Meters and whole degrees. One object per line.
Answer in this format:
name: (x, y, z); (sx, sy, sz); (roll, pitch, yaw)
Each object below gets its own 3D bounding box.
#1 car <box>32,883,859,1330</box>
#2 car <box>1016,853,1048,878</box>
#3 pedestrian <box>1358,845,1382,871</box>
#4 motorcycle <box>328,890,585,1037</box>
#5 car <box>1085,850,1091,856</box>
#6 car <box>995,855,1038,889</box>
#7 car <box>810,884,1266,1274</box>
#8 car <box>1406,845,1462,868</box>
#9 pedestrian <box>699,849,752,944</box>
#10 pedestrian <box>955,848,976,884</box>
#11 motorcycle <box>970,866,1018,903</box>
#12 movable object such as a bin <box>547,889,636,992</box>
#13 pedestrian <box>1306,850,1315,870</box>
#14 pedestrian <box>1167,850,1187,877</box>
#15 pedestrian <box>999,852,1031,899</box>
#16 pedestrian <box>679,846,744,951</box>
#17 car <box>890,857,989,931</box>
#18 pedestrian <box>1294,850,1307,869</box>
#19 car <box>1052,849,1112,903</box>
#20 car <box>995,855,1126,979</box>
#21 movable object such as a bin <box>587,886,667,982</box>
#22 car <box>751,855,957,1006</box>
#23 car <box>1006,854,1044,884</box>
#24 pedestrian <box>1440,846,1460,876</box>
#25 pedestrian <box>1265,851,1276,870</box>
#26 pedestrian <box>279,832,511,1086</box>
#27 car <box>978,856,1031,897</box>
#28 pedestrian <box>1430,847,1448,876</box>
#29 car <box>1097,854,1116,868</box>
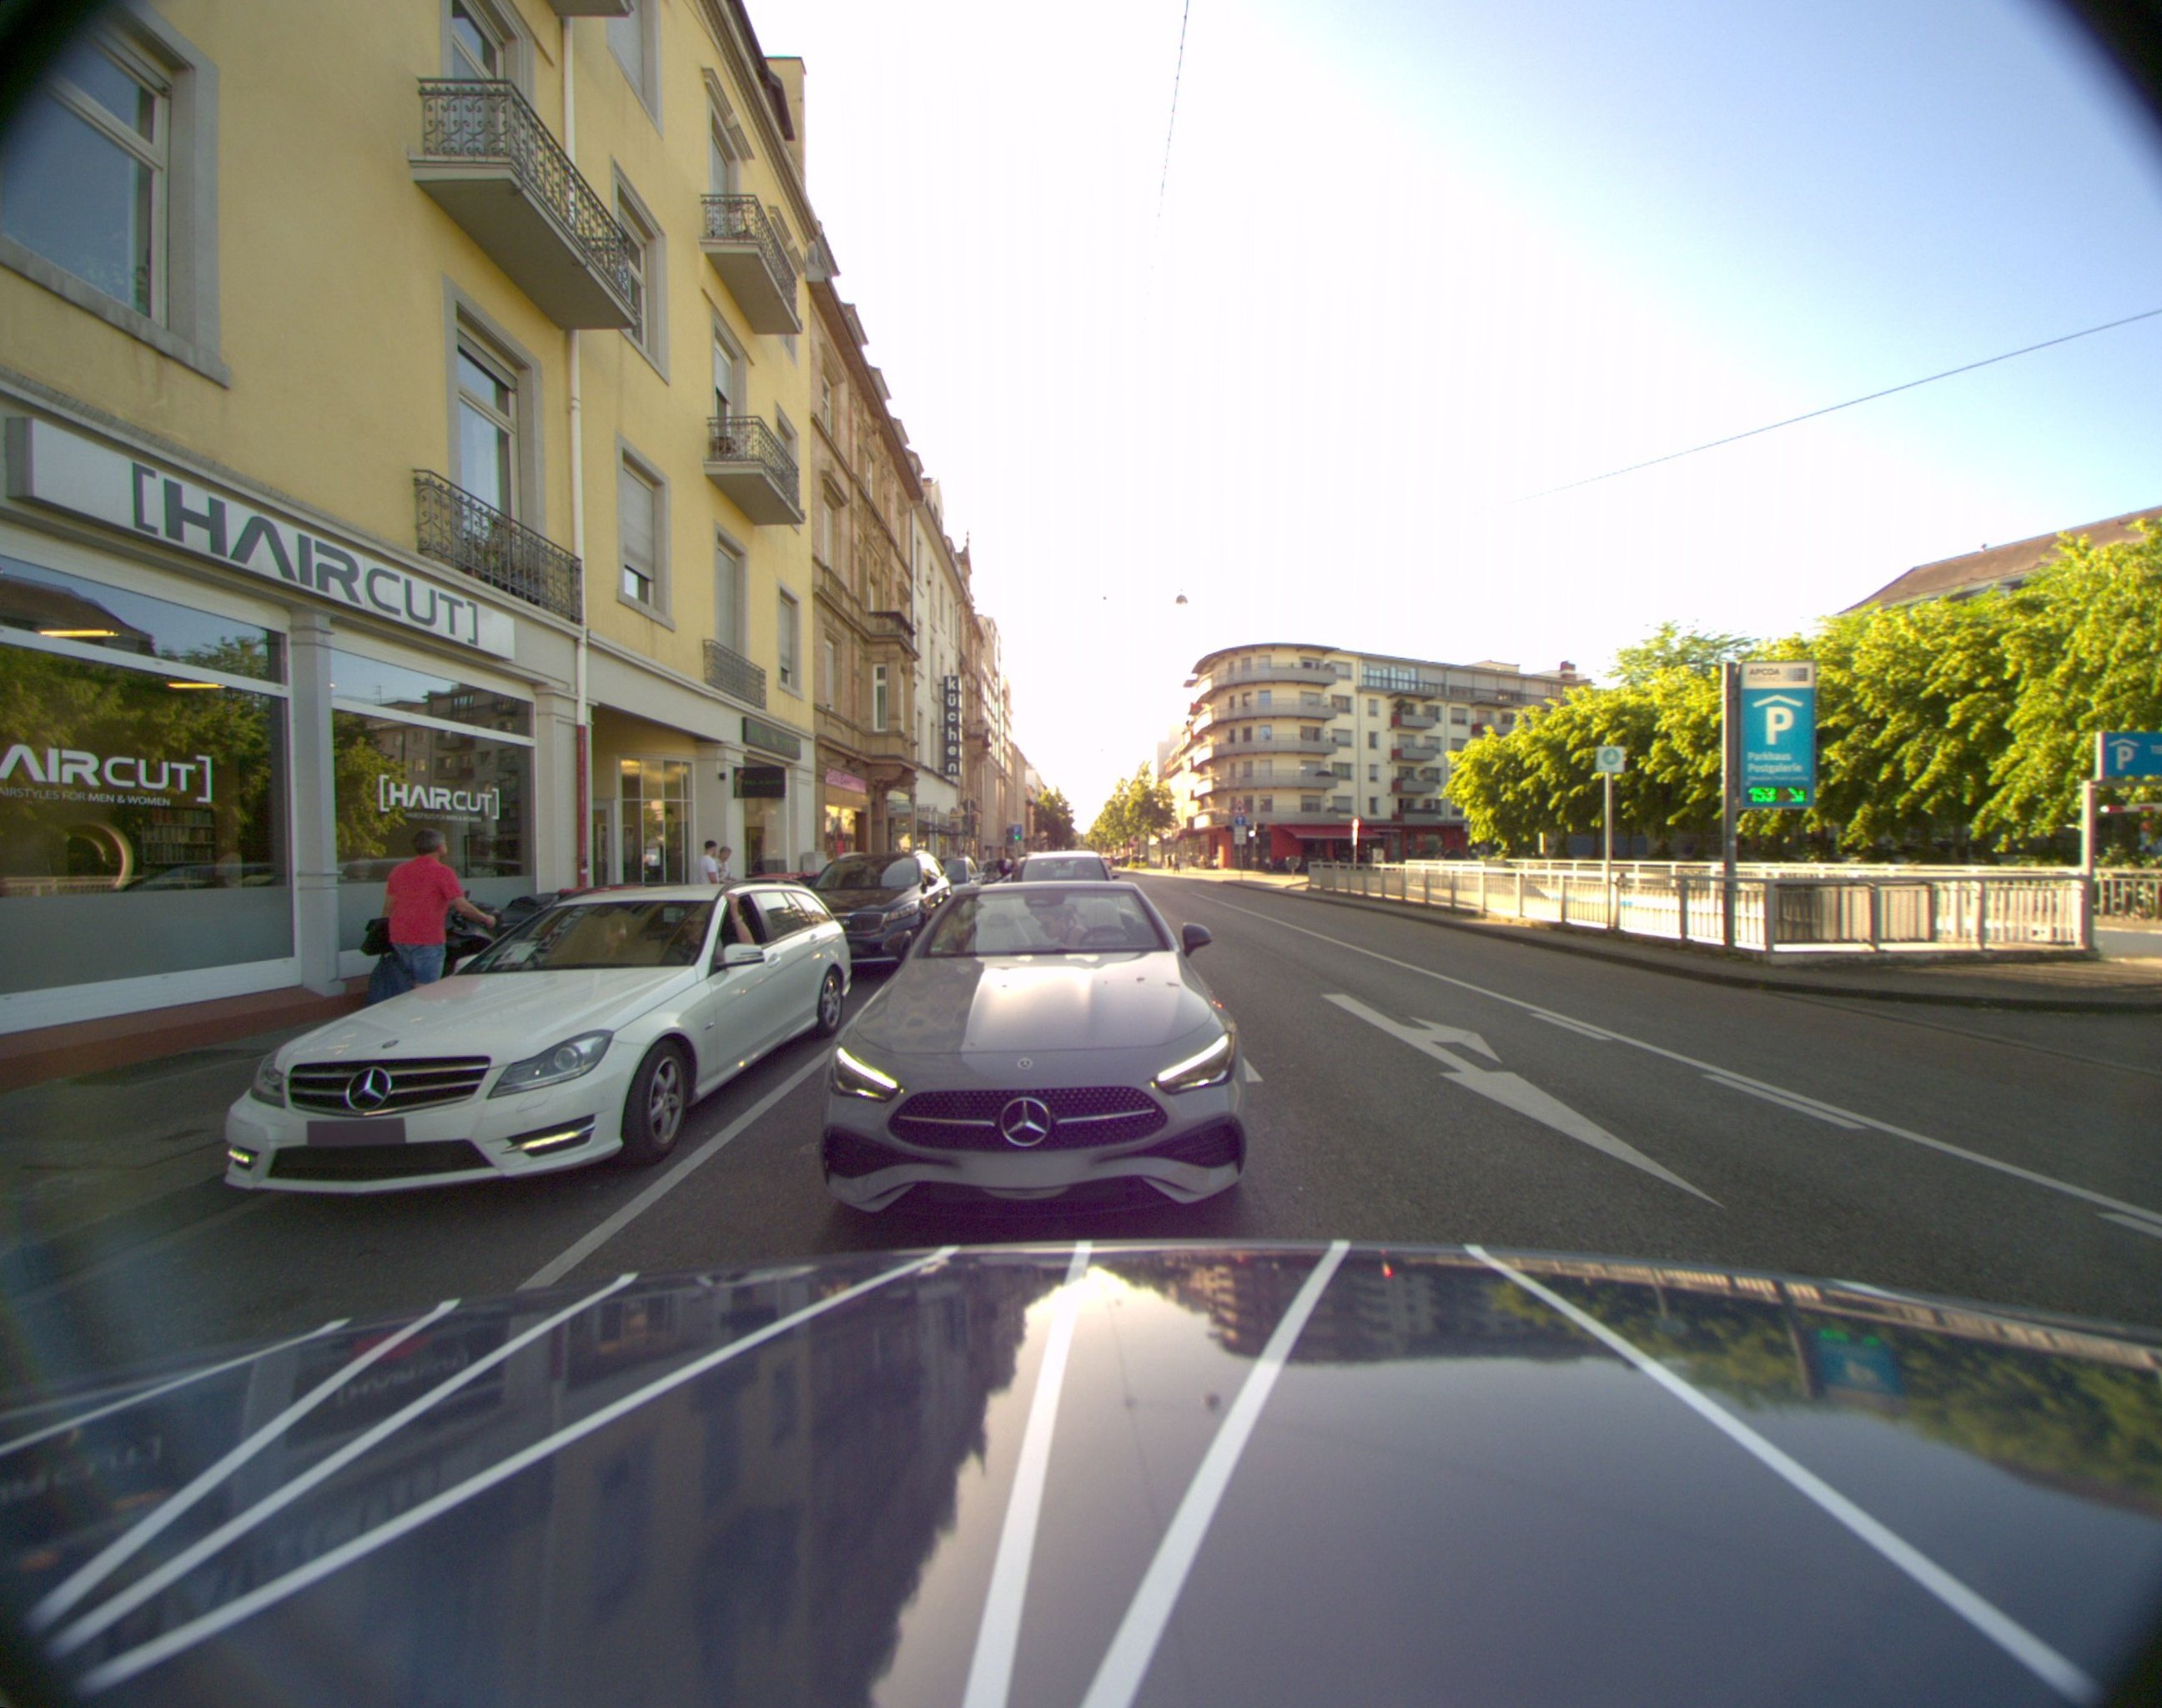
car: (-3.068, 1.045, 5.179); (1.759, 1.453, 4.597); (-1, 0, 0)
car: (-3.018, 0.688, 47.612); (1.715, 1.477, 4.062); (-1, 0, 0)
pedestrian: (22.641, 0.304, 59.531); (1.234, 2.002, 1.259); (-2, 1, -21)
motorcycle: (-6.257, 1.023, 7.845); (0.773, 1.158, 2.247); (1, 0, 1)
car: (2.287, -0.370, 261.753); (1.998, 1.805, 4.000); (-2, 0, 1)
car: (-3.044, 0.811, 36.499); (1.715, 1.477, 3.999); (-1, 0, 0)
car: (-0.194, 1.021, 5.291); (1.849, 1.371, 4.255); (-2, 0, -1)
car: (29.041, 0.171, 62.468); (4.004, 1.740, 1.996); (-2, 1, -23)
pedestrian: (-6.175, 0.718, 13.222); (0.572, 1.607, 0.643); (-1, 1, 2)
pedestrian: (-5.238, 0.544, 34.501); (0.795, 1.607, 0.763); (-1, 1, -1)
motorcycle: (-3.052, 1.046, 26.806); (0.769, 1.225, 1.546); (-1, 1, 42)
movable object such as a bin: (-6.104, 1.063, 9.507); (0.647, 1.200, 0.644); (-1, 1, 1)
pedestrian: (17.957, 0.459, 59.517); (0.581, 1.481, 0.793); (-1, 1, 13)
pedestrian: (7.167, 0.699, 56.696); (1.018, 2.002, 1.202); (-1, 1, 34)
pedestrian: (-2.352, 0.757, 27.070); (0.691, 1.657, 0.836); (-1, 1, 42)
pedestrian: (-5.856, 0.689, 12.081); (0.642, 1.607, 0.701); (-1, 1, -1)
car: (-3.259, 0.880, 18.048); (1.696, 1.559, 3.018); (-1, 0, 1)
pedestrian: (17.697, 0.436, 61.171); (0.583, 1.453, 0.790); (-2, 1, -37)
car: (0.056, 0.721, 27.441); (1.952, 1.742, 4.000); (-1, 0, 1)
car: (-0.246, 0.850, 12.196); (1.716, 1.599, 4.000); (-1, 0, 1)
movable object such as a bin: (-6.054, 1.054, 10.159); (0.647, 1.200, 0.644); (-1, 1, 1)
car: (-3.022, 0.894, 11.220); (1.858, 1.688, 4.697); (-1, 0, -4)
car: (-2.976, 0.761, 41.017); (1.715, 1.477, 3.999); (-1, 0, 0)
pedestrian: (22.545, 0.401, 46.439); (0.755, 1.795, 0.756); (-2, 1, -15)
pedestrian: (15.060, 0.497, 60.289); (0.791, 1.452, 0.583); (-1, 1, 10)
pedestrian: (-5.191, 0.735, 5.838); (0.866, 1.774, 1.008); (2, 1, -4)
car: (-3.038, 0.868, 30.746); (1.715, 1.477, 3.999); (-1, 0, 0)
pedestrian: (21.872, 0.461, 46.432); (0.674, 1.696, 0.699); (-2, 1, -7)
car: (2.679, 0.698, 80.729); (1.802, 1.426, 4.250); (-1, 0, 0)
